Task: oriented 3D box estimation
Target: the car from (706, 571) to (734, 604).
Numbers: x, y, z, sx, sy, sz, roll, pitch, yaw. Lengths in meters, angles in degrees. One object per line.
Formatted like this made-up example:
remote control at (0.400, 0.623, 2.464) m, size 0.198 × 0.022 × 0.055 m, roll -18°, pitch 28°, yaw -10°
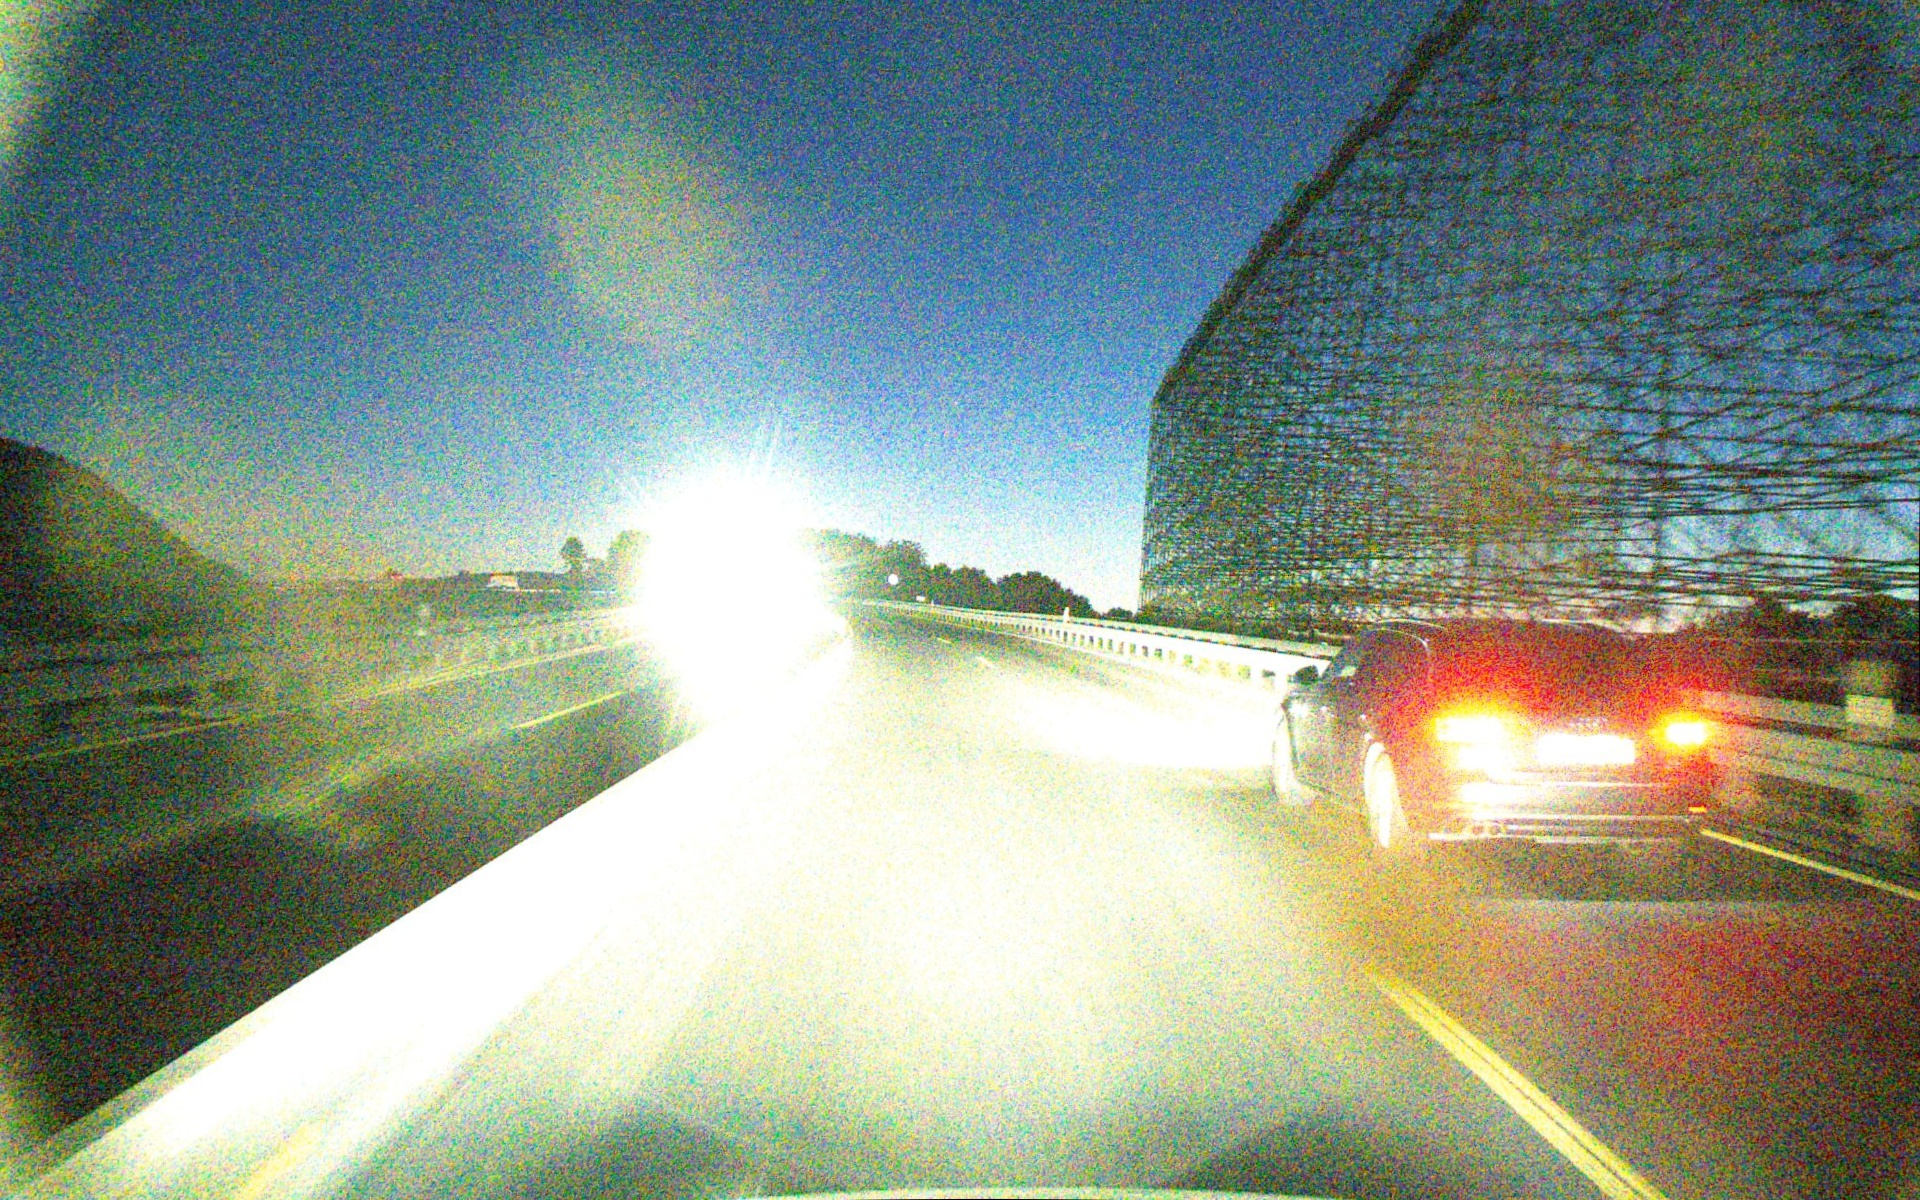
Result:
car at (-24.243, -1.207, 167.024) m, size 2.441 × 3.160 × 7.365 m, roll 0°, pitch -1°, yaw -11°

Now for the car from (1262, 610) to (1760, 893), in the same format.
car at (3.324, 0.806, 11.085) m, size 1.771 × 1.451 × 4.875 m, roll 0°, pitch 0°, yaw 1°

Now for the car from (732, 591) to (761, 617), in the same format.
car at (-12.335, 0.217, 95.422) m, size 1.653 × 1.484 × 4.192 m, roll 0°, pitch 0°, yaw -8°
